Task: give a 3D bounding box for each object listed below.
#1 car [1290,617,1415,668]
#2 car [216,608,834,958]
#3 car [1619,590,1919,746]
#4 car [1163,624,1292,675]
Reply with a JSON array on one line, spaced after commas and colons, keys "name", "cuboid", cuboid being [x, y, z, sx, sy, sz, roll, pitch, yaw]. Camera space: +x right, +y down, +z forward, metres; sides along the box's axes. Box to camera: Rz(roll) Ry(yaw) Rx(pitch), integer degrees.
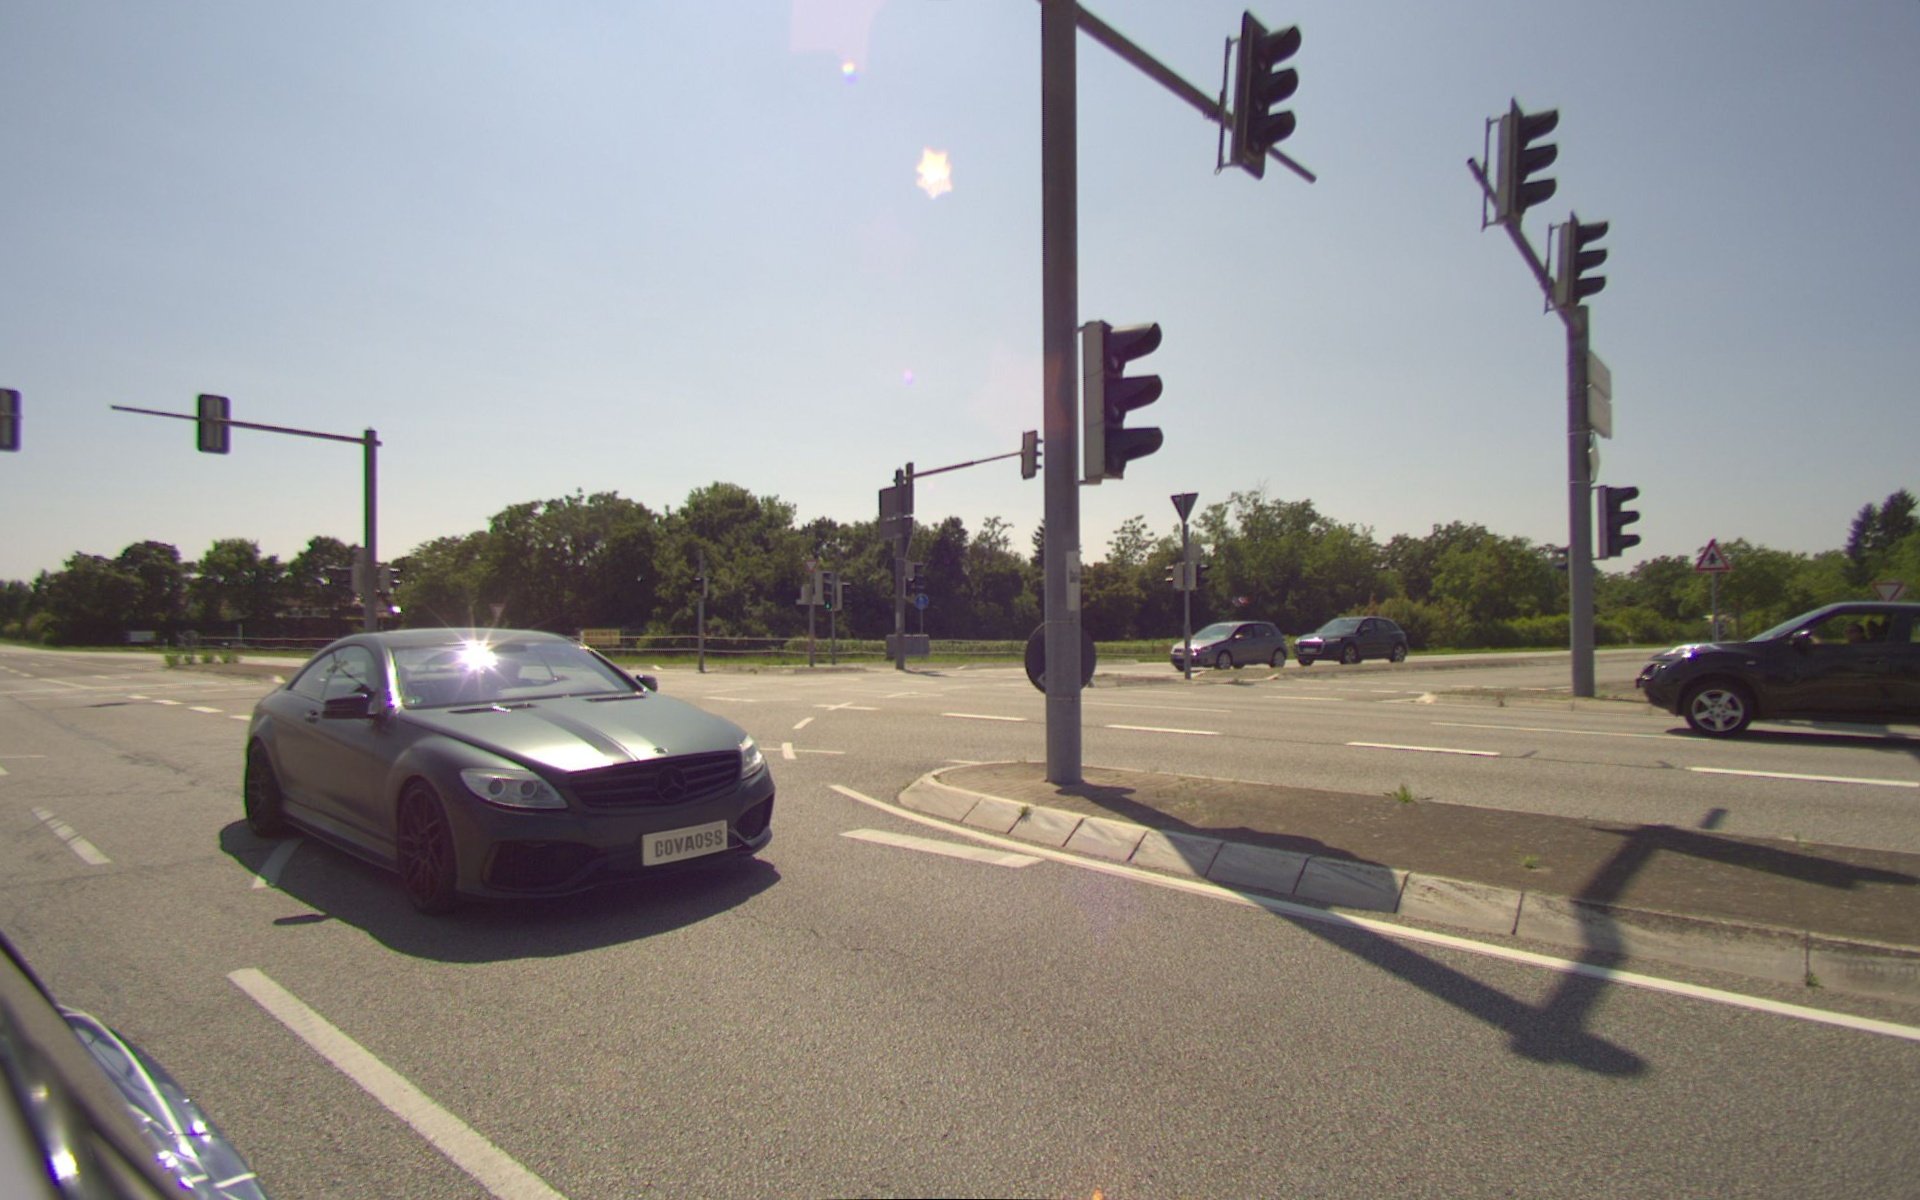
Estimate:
[{"name": "car", "cuboid": [13.212, 1.425, 34.034, 4.295, 1.606, 1.639, 1, -3, -32]}, {"name": "car", "cuboid": [-3.126, 0.848, 6.595, 4.875, 1.461, 1.792, -2, -1, 41]}, {"name": "car", "cuboid": [10.158, 0.731, 11.516, 4.300, 1.612, 1.812, -1, -2, 39]}, {"name": "car", "cuboid": [8.101, 1.468, 30.553, 3.815, 1.397, 1.639, 0, -2, -34]}]
